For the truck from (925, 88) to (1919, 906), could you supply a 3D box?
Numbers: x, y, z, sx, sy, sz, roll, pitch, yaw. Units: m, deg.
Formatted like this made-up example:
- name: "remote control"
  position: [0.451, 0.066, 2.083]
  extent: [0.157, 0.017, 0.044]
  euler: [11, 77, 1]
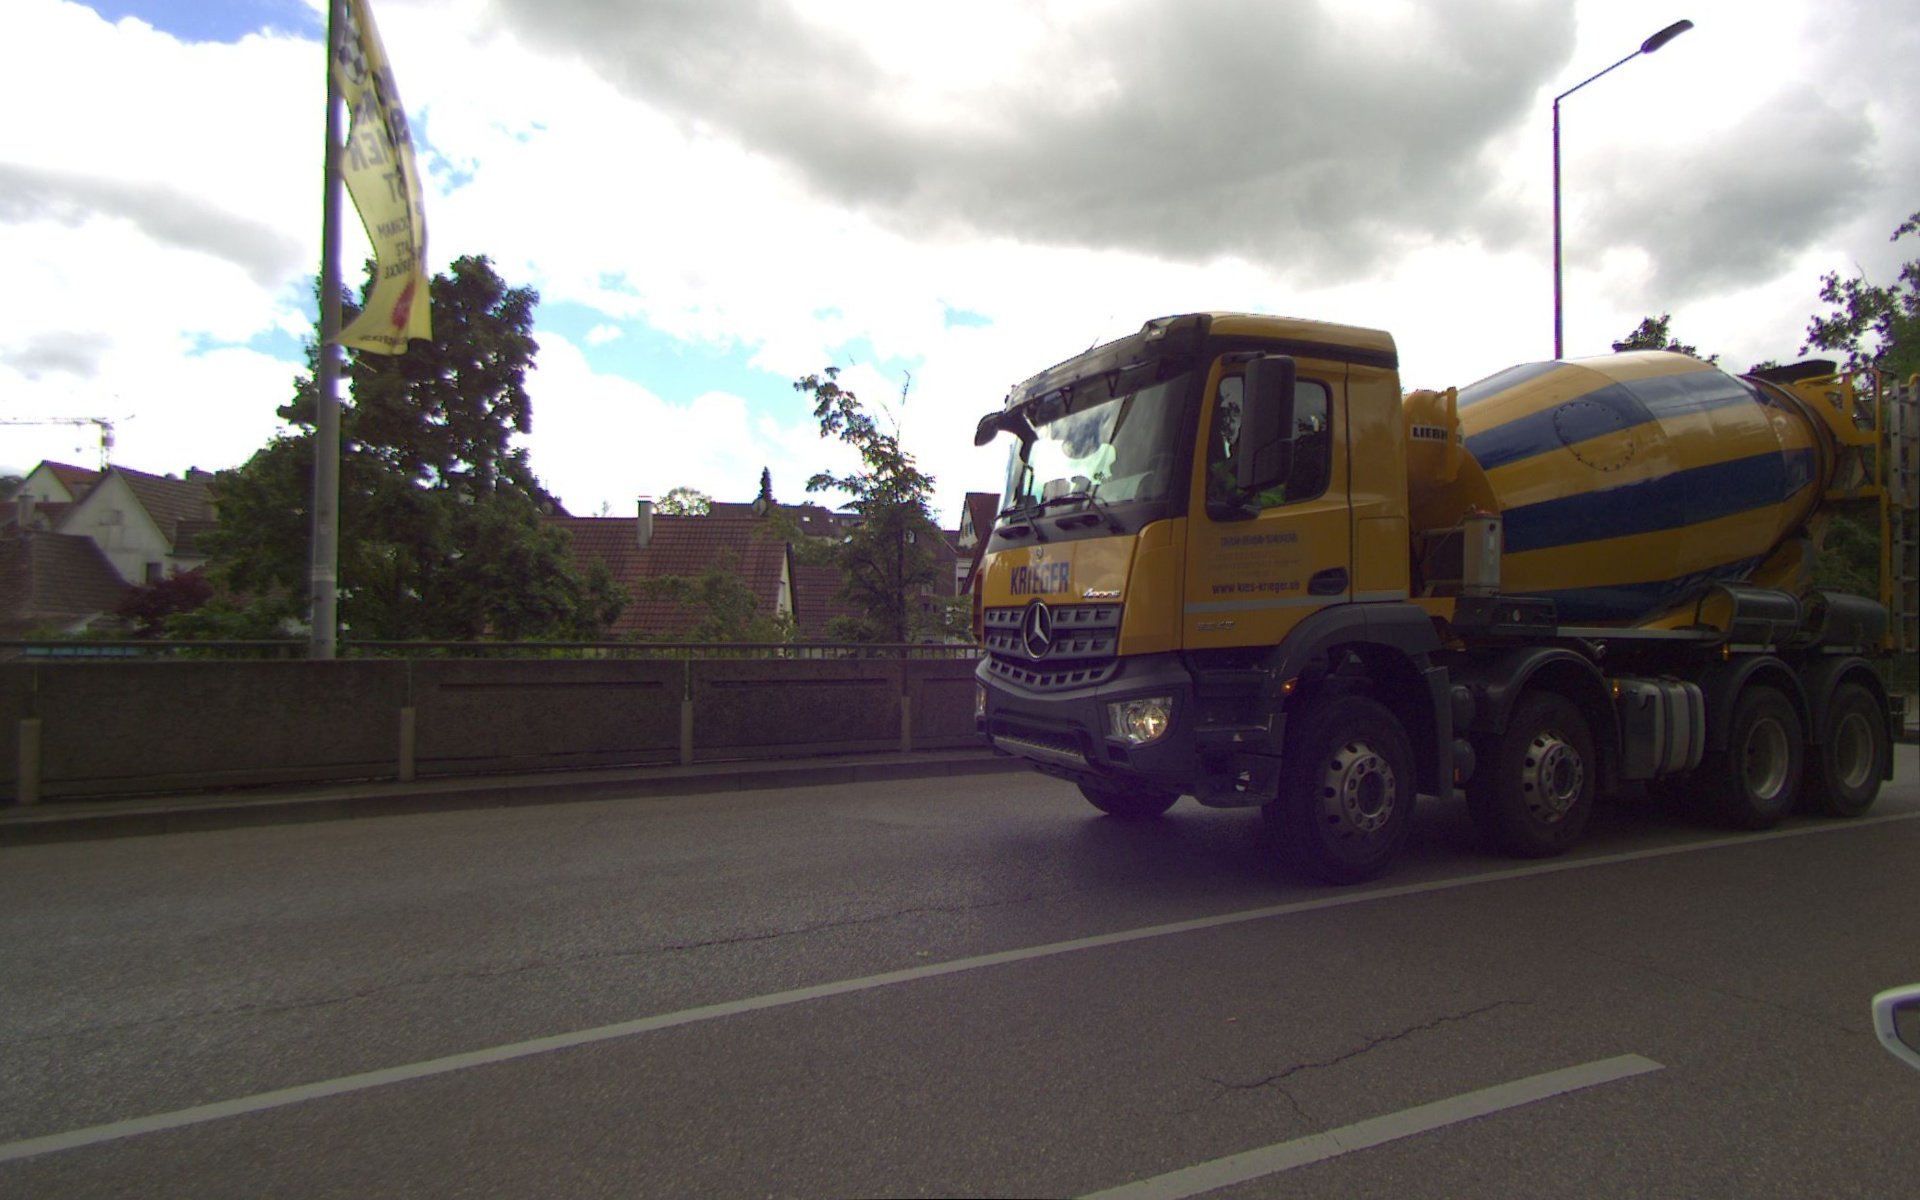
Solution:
- name: "truck"
  position: [4.816, -0.371, 8.271]
  extent: [9.976, 3.991, 2.646]
  euler: [2, -1, -26]
